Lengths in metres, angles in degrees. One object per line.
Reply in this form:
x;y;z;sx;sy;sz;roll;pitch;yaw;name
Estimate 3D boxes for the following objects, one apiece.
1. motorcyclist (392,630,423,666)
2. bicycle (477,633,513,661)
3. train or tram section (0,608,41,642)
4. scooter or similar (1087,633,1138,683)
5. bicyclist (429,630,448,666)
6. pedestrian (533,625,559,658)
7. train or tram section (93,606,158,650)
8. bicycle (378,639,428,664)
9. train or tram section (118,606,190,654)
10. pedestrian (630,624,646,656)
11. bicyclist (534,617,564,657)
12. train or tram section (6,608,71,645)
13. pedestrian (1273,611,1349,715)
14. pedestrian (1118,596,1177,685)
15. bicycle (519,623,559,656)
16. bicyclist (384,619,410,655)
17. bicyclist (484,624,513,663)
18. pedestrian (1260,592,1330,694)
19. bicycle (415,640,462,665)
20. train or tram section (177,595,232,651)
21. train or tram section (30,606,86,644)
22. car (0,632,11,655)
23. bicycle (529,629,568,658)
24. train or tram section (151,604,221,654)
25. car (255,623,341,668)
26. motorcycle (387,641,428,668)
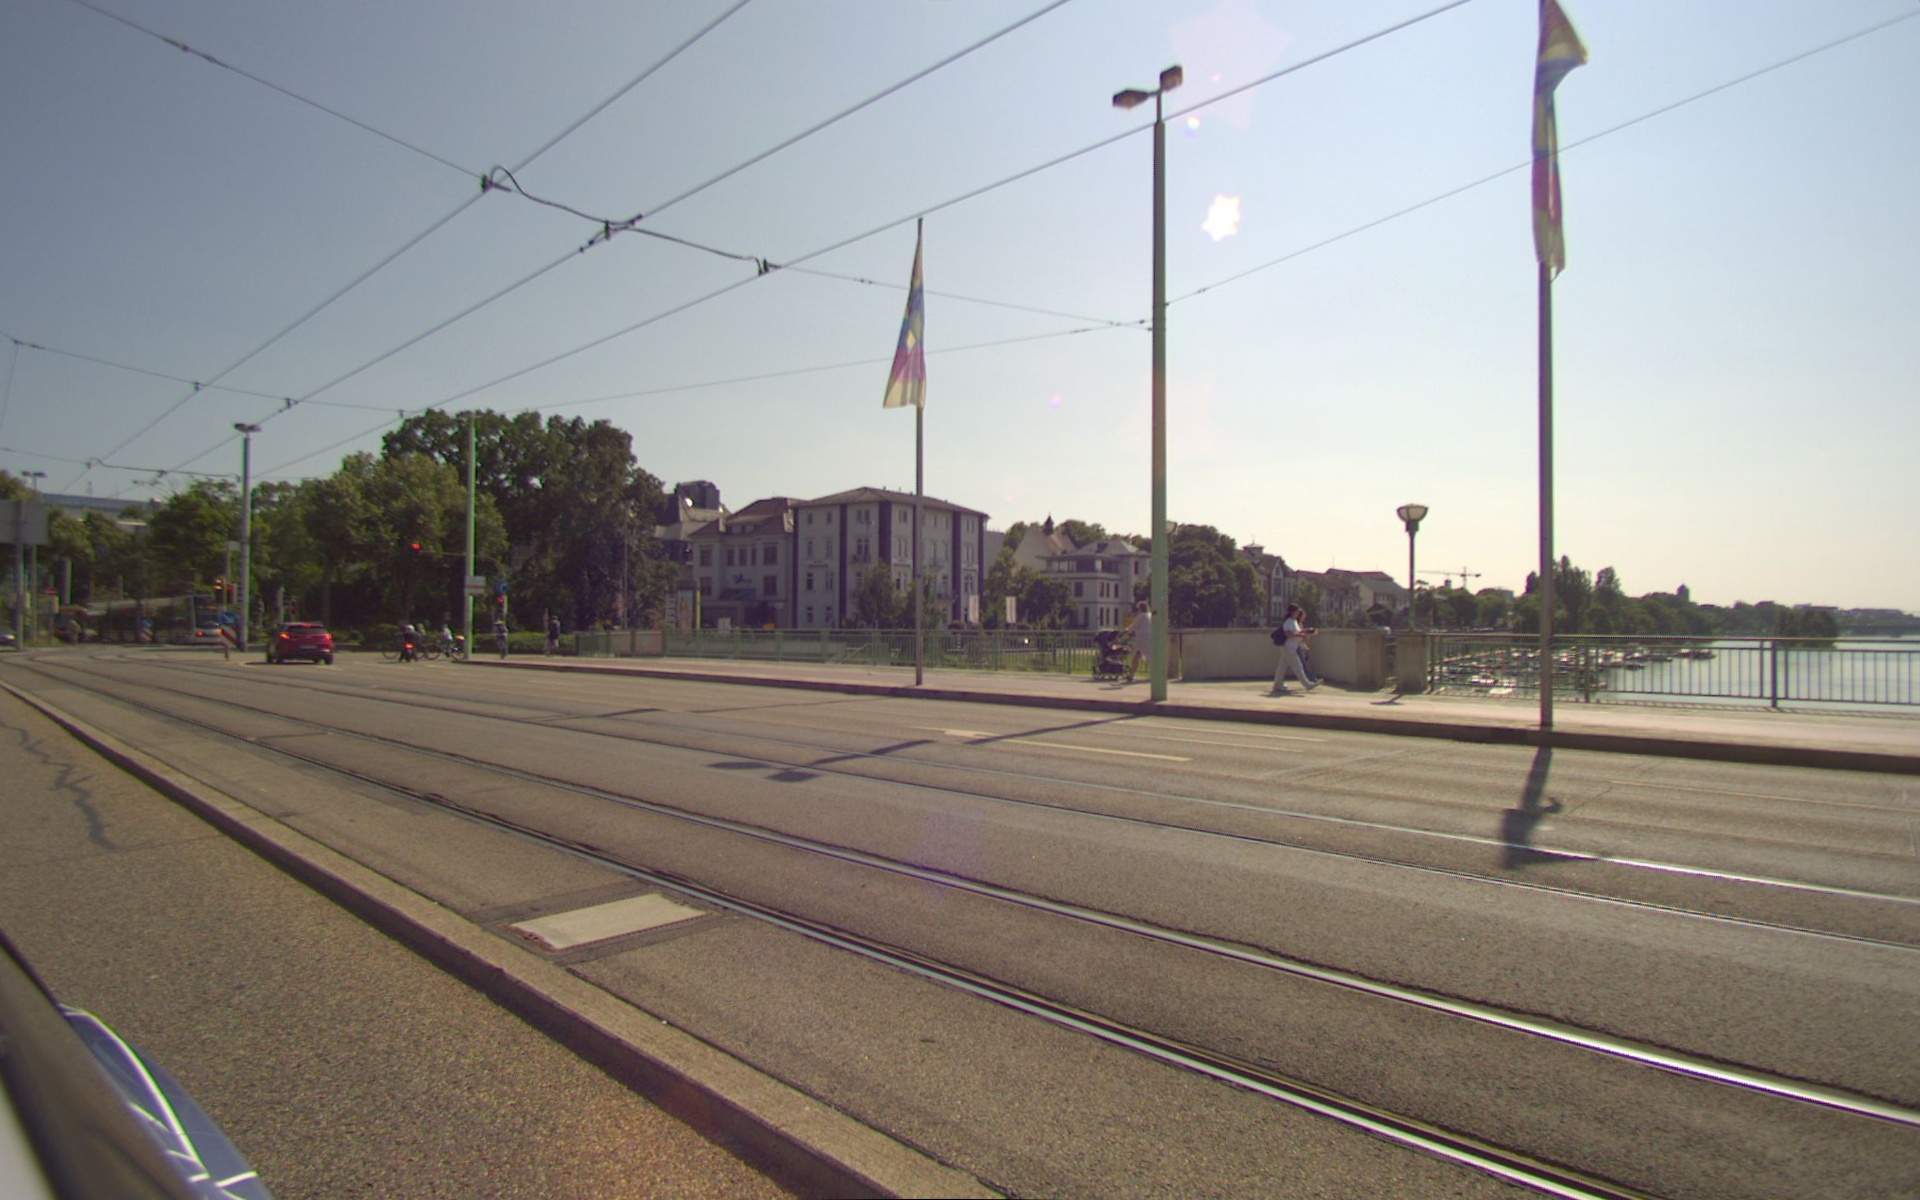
-22.350;1.924;40.915;0.897;1.412;0.836;-1;-1;41;motorcyclist
-19.767;2.009;43.018;1.921;1.122;0.750;-4;-2;45;bicycle
-99.328;2.676;105.775;12.395;3.429;2.733;-1;-3;38;train or tram section
3.410;1.290;22.603;0.832;1.037;0.731;-2;1;41;scooter or similar
-24.019;2.210;46.591;0.758;1.621;0.882;1;-2;-28;bicyclist
-18.514;1.848;45.231;0.899;1.466;0.735;-1;-2;43;pedestrian
-75.243;2.588;91.212;9.154;3.806;2.513;-2;-3;38;train or tram section
-25.563;2.356;46.461;1.891;1.122;0.762;1;-2;-43;bicycle
-68.298;2.481;85.659;9.155;3.806;2.513;1;-1;37;train or tram section
-18.605;2.296;58.509;0.686;1.806;0.701;0;-2;0;pedestrian
-16.757;1.499;41.268;0.772;1.621;0.867;-1;-2;43;bicyclist
-89.540;2.623;98.213;12.397;3.429;2.733;-1;-3;39;train or tram section
6.621;1.166;19.105;1.120;1.862;0.731;-2;1;41;pedestrian
4.079;0.863;21.991;0.974;1.867;0.731;-2;1;41;pedestrian
-18.955;1.768;45.536;2.162;1.410;0.697;-2;2;41;bicycle
-25.781;1.695;46.353;0.866;1.621;0.773;1;-2;-43;bicyclist
-19.555;1.853;42.853;0.867;1.621;0.772;3;-5;-45;bicyclist
6.165;0.778;18.623;0.957;1.798;0.731;-2;1;41;pedestrian
-23.963;2.414;46.541;1.887;1.122;0.763;1;-1;-28;bicycle
-54.835;1.687;73.343;2.439;3.806;11.868;1;-2;-40;train or tram section
-82.556;2.317;92.627;5.877;3.429;2.734;-1;-3;38;train or tram section
-66.095;2.942;68.844;4.745;1.497;1.729;-2;-4;41;car
-16.776;1.776;41.244;1.920;1.122;0.750;-1;-2;43;bicycle
-61.230;2.326;79.955;9.612;3.709;2.379;-2;-3;40;train or tram section
-24.446;1.643;37.304;1.970;1.526;4.194;1;-1;-43;car
-22.347;2.194;40.905;1.951;1.032;0.836;-1;-1;42;motorcycle
